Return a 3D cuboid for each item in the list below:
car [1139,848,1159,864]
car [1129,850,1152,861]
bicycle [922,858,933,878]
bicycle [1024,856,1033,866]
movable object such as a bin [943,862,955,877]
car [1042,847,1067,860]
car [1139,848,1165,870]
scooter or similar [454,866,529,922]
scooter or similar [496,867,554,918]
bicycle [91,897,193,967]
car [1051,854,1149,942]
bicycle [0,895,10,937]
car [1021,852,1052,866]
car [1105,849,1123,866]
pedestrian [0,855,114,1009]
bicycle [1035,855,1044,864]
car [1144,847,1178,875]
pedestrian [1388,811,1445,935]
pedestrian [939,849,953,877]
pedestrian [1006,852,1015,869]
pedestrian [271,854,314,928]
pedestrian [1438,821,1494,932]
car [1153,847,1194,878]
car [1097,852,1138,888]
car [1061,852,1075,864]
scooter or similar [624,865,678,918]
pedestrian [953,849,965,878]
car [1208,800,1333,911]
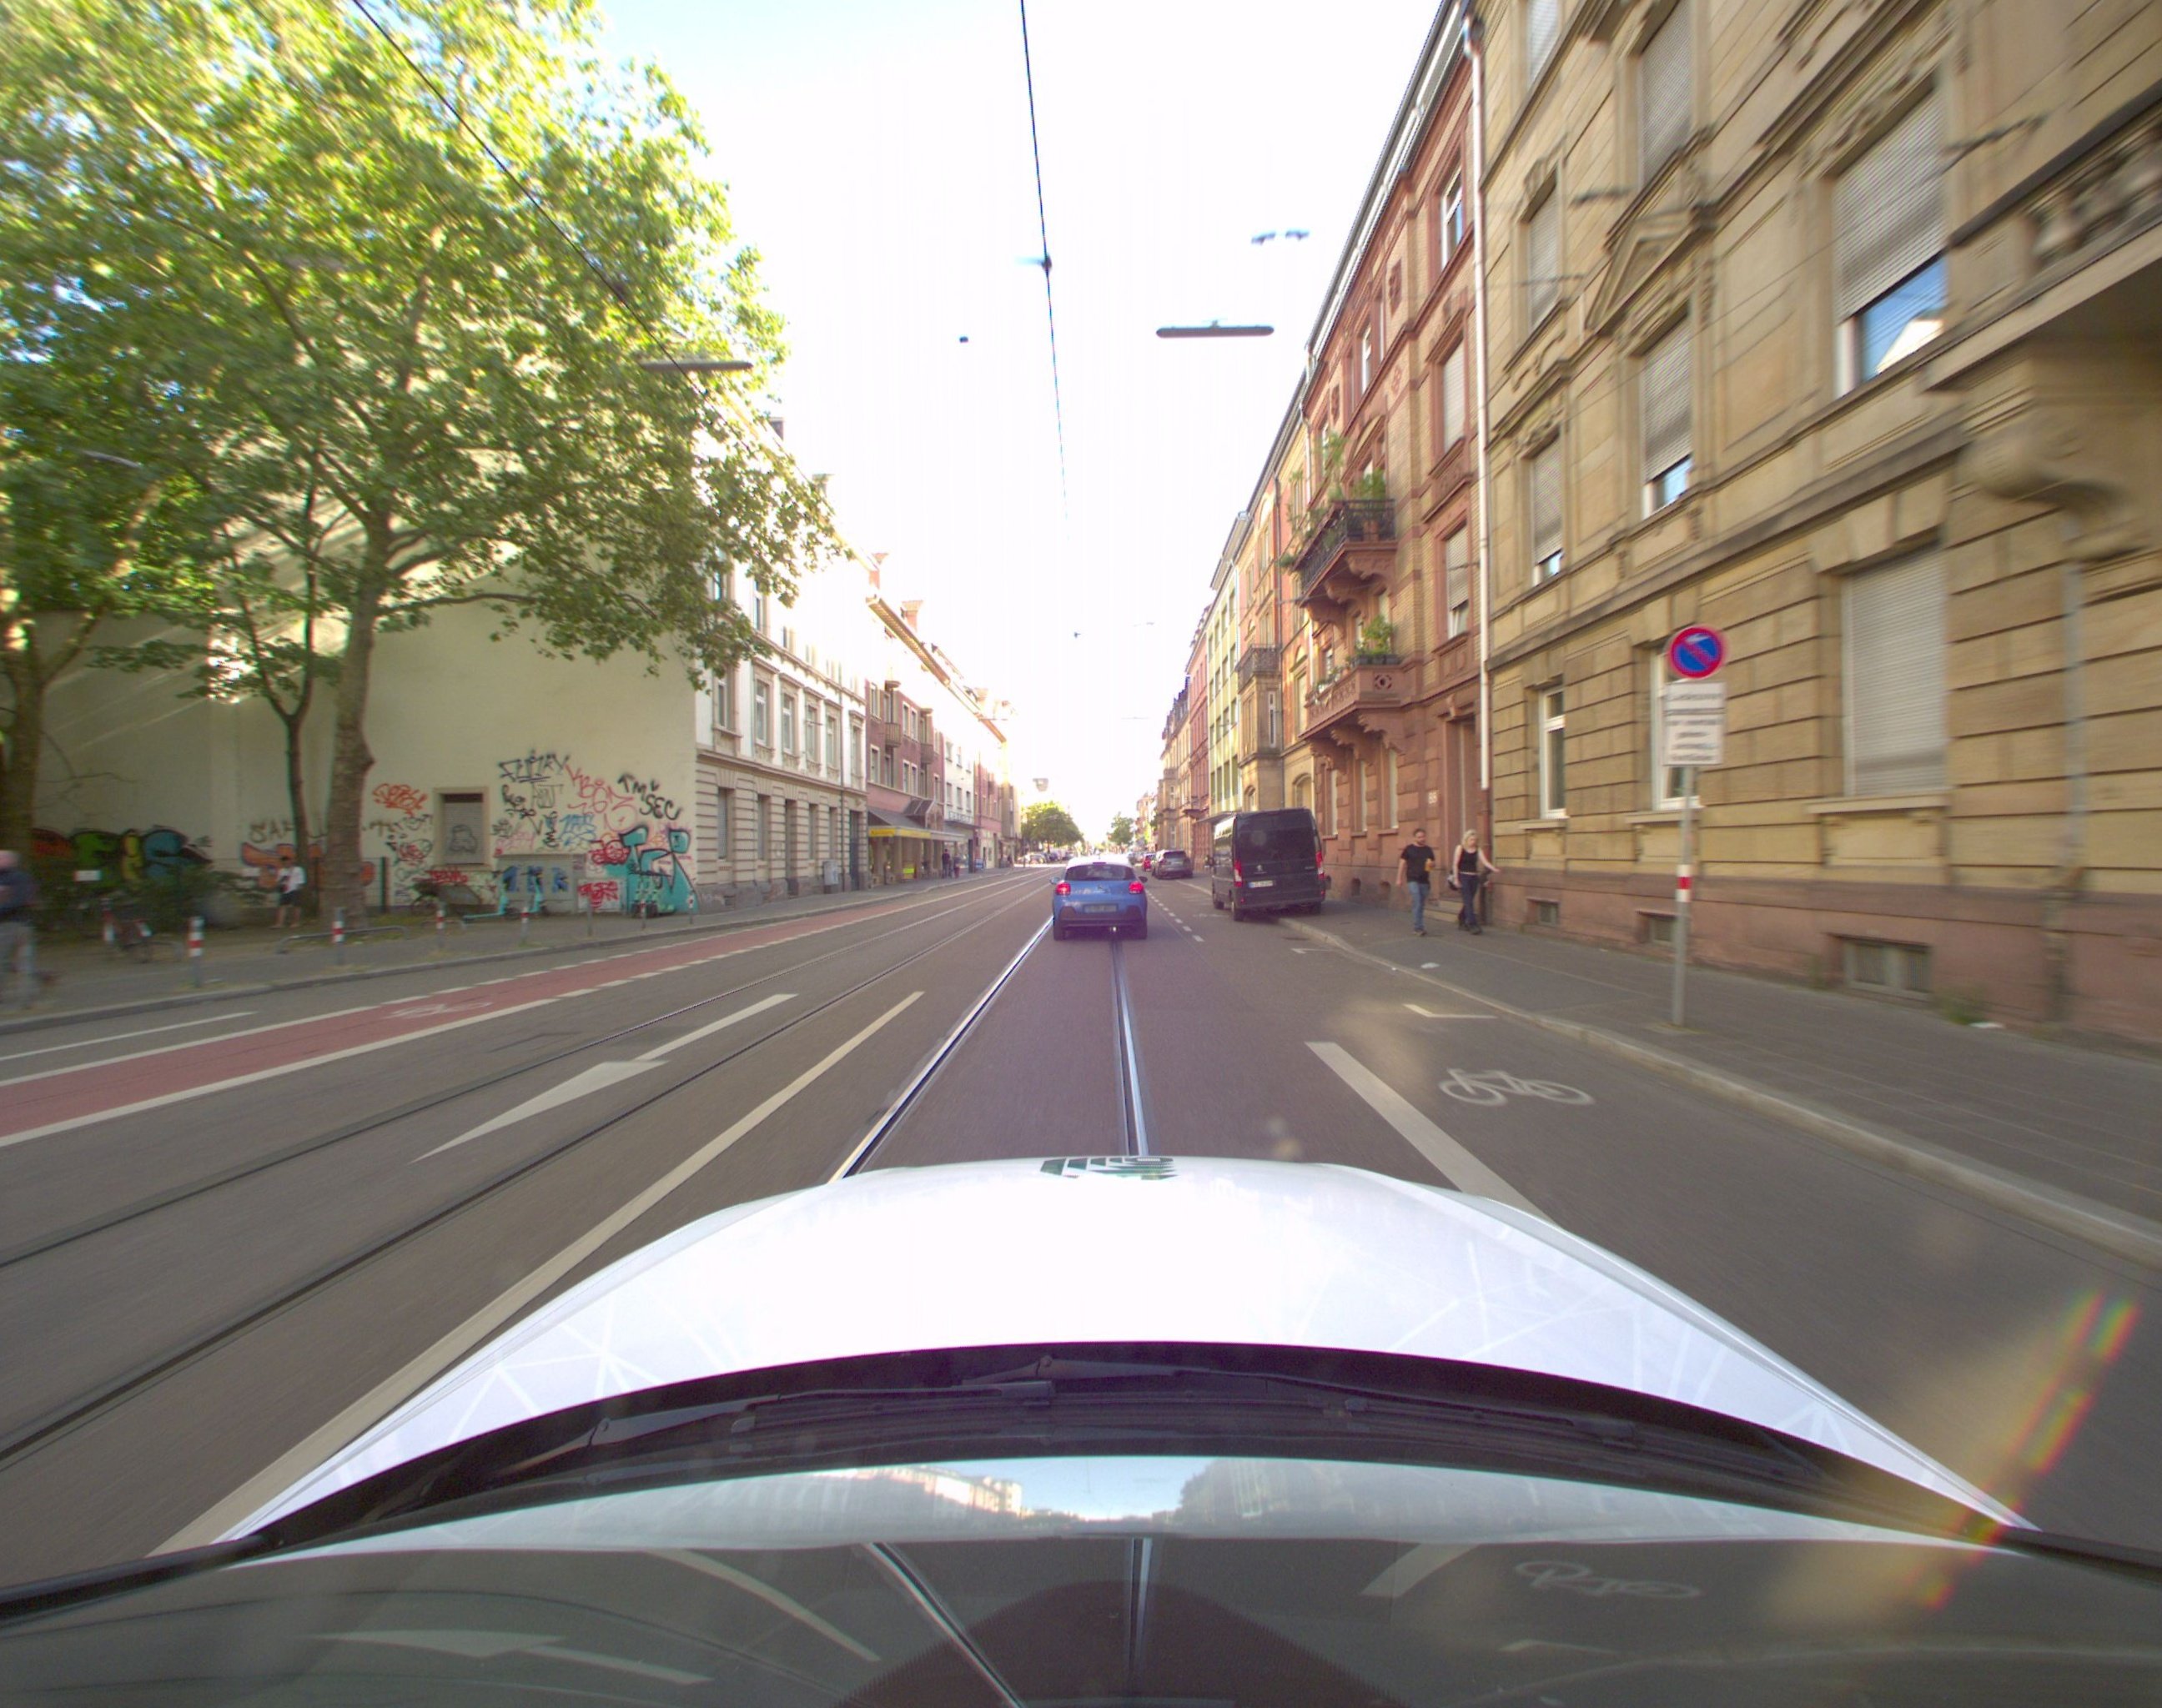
[{"bbox_3d":[8.023,0.252,96.816,1.998,1.672,4.392,-4,0,1],"label":"car"},{"bbox_3d":[10.051,0.254,137.679,3.825,1.618,1.791,-1,0,-1],"label":"car"},{"bbox_3d":[-9.285,0.846,49.199,0.621,1.159,2.057,-1,0,-12],"label":"bicycle"},{"bbox_3d":[-7.246,0.998,112.672,1.118,1.319,3.639,-1,0,-4],"label":"bicycle"},{"bbox_3d":[-8.392,1.006,51.721,0.608,0.914,0.695,-1,0,1],"label":"movable object such as a bin"},{"bbox_3d":[-5.277,-0.052,161.420,4.329,2.581,2.192,-1,0,-25],"label":"car"},{"bbox_3d":[6.287,0.456,72.344,1.998,1.672,4.393,-3,2,1],"label":"car"},{"bbox_3d":[-14.136,0.941,19.571,1.228,1.258,0.765,-1,0,-11],"label":"scooter or similar"},{"bbox_3d":[-13.956,0.946,20.458,0.937,1.222,0.765,-1,0,-11],"label":"scooter or similar"},{"bbox_3d":[-15.492,1.252,13.427,1.898,1.034,0.669,-1,0,27],"label":"bicycle"},{"bbox_3d":[0.382,0.758,16.071,1.668,1.477,4.001,-1,0,1],"label":"car"},{"bbox_3d":[-24.094,1.367,17.029,0.499,0.913,1.991,-1,0,15],"label":"bicycle"},{"bbox_3d":[-6.557,0.721,119.428,4.290,2.017,2.211,-1,0,3],"label":"car"},{"bbox_3d":[3.899,0.396,95.913,1.987,2.013,4.000,-1,0,0],"label":"car"},{"bbox_3d":[-12.727,0.901,9.895,0.678,1.765,1.029,-1,0,12],"label":"pedestrian"},{"bbox_3d":[-5.758,0.773,112.724,1.118,1.146,3.639,-1,0,-4],"label":"bicycle"},{"bbox_3d":[5.268,0.459,54.005,1.899,1.757,4.000,-1,0,0],"label":"car"},{"bbox_3d":[5.651,0.314,13.743,0.583,2.013,0.823,-1,0,0],"label":"pedestrian"},{"bbox_3d":[-8.447,0.561,51.020,0.708,1.764,0.570,-1,0,0],"label":"pedestrian"},{"bbox_3d":[-6.770,0.651,78.251,0.683,1.638,0.675,-1,0,0],"label":"pedestrian"},{"bbox_3d":[-18.736,0.870,19.358,0.454,1.718,0.547,-1,0,0],"label":"pedestrian"},{"bbox_3d":[6.414,0.369,13.589,0.551,1.782,0.606,-4,0,0],"label":"pedestrian"},{"bbox_3d":[5.397,0.456,48.071,1.998,1.672,4.807,-1,0,1],"label":"car"},{"bbox_3d":[1.568,0.661,36.423,1.661,1.478,4.000,-1,0,0],"label":"car"},{"bbox_3d":[-1.917,0.570,120.598,1.987,1.651,4.000,-1,0,0],"label":"car"},{"bbox_3d":[-11.102,0.963,21.069,0.785,1.271,1.075,1,1,0],"label":"scooter or similar"},{"bbox_3d":[-7.639,0.594,51.064,0.710,1.764,0.653,-1,0,-7],"label":"pedestrian"},{"bbox_3d":[4.629,0.028,20.888,2.261,2.436,5.727,-1,0,4],"label":"car"}]
